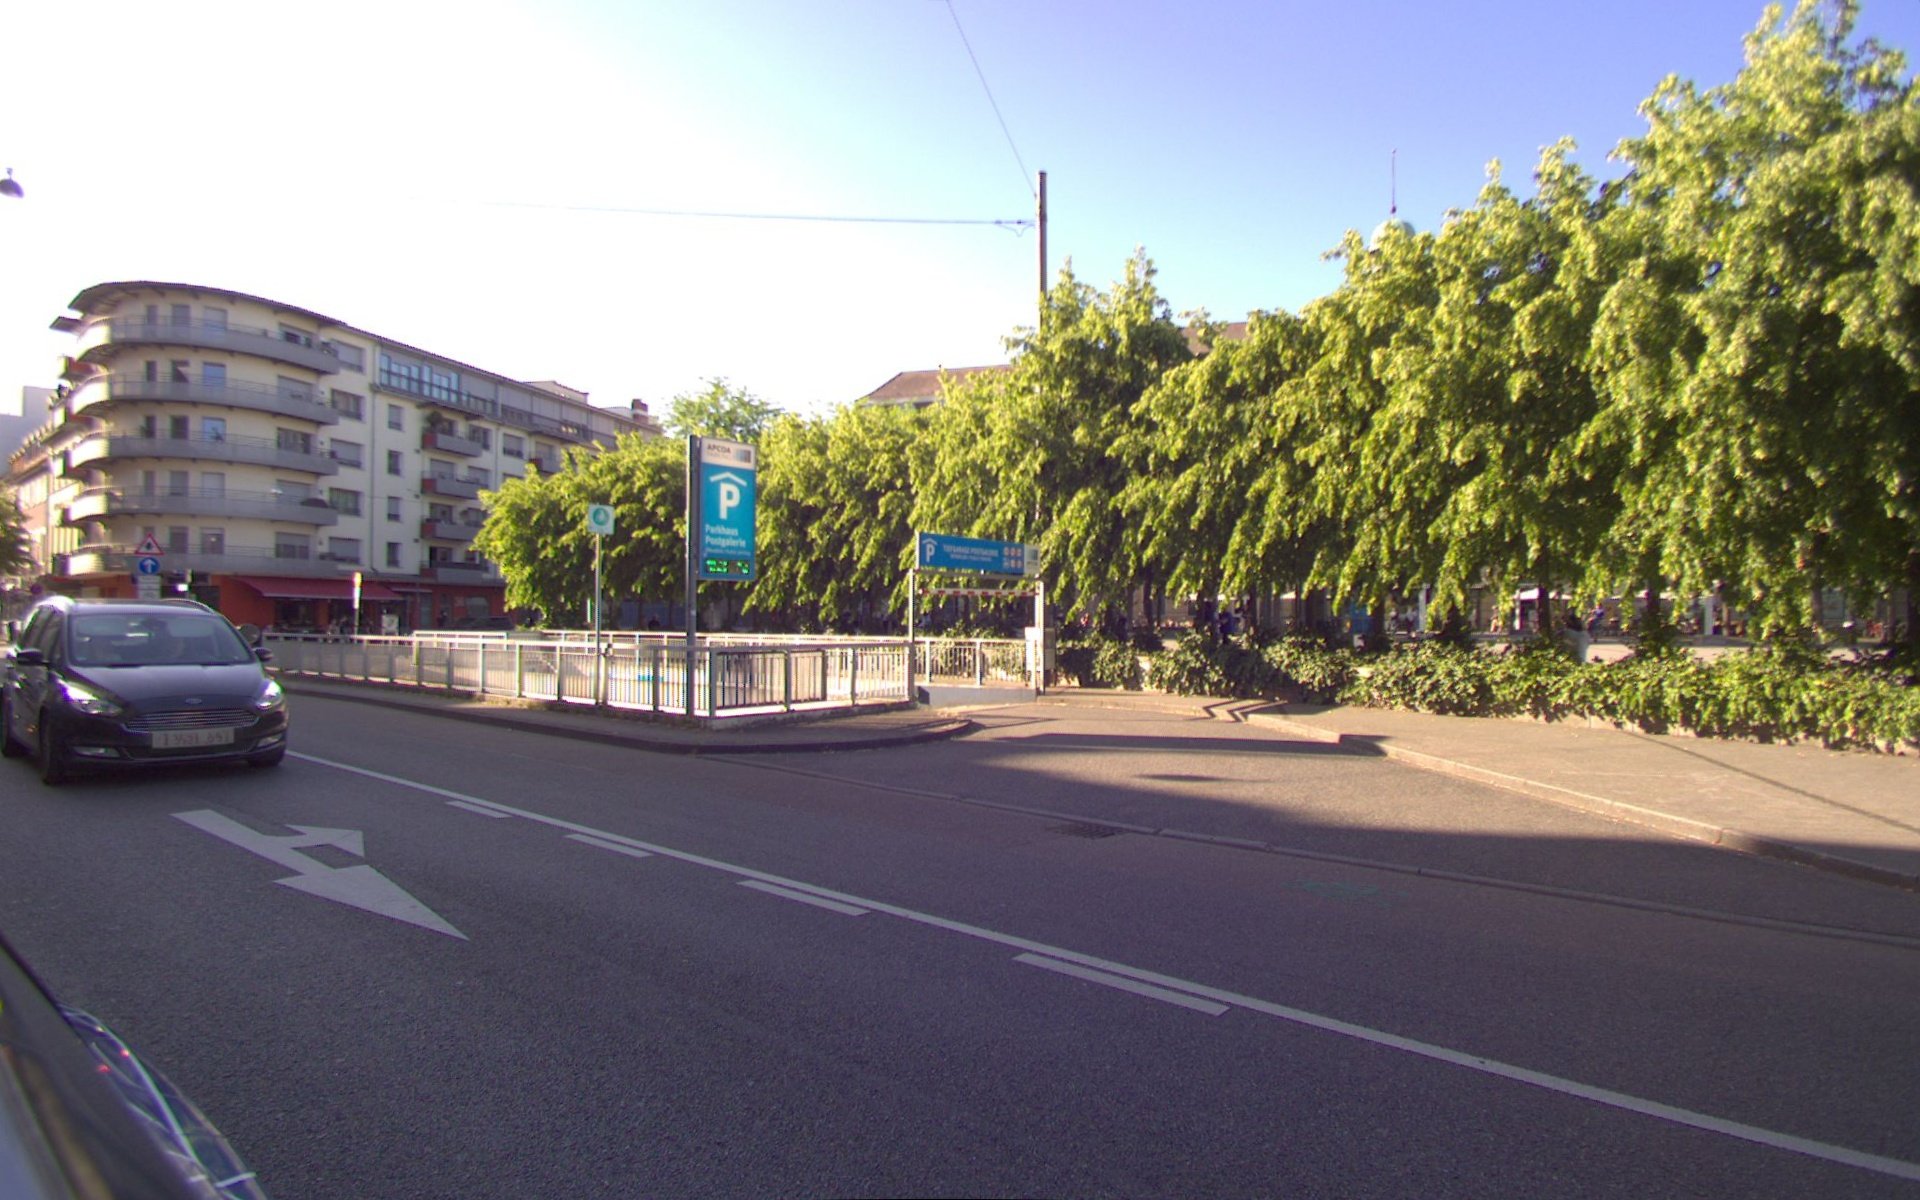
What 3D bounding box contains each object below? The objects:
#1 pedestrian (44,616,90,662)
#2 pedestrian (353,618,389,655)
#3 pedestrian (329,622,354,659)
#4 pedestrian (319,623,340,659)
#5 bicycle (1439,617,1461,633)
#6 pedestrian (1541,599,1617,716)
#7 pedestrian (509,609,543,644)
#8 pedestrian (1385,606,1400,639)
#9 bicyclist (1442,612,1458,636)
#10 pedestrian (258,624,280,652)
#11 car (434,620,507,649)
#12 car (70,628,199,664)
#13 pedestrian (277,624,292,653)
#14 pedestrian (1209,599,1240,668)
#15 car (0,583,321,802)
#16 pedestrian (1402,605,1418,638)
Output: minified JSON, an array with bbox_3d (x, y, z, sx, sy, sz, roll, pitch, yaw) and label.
[{"bbox_3d":[-40.746,1.754,46.194,1.008,2.029,1.198,-1,0,4],"label":"pedestrian"},{"bbox_3d":[-32.479,2.000,55.796,1.251,2.029,1.226,-1,-1,19],"label":"pedestrian"},{"bbox_3d":[-30.605,1.982,50.114,0.750,1.819,0.751,-1,-1,15],"label":"pedestrian"},{"bbox_3d":[-30.824,1.987,49.475,0.697,1.719,0.667,-1,-1,33],"label":"pedestrian"},{"bbox_3d":[30.253,1.513,62.482,1.878,0.961,0.589,0,-1,-45],"label":"bicycle"},{"bbox_3d":[9.777,0.880,15.976,0.885,1.771,0.738,0,-1,-39],"label":"pedestrian"},{"bbox_3d":[-25.030,1.528,58.353,1.287,2.029,1.309,-1,-1,23],"label":"pedestrian"},{"bbox_3d":[25.625,1.348,59.971,0.751,1.948,0.938,-1,-1,20],"label":"pedestrian"},{"bbox_3d":[30.228,1.491,62.448,0.688,1.439,0.674,1,-1,-44],"label":"bicyclist"},{"bbox_3d":[-36.726,2.022,53.771,0.782,1.473,0.582,0,-1,3],"label":"pedestrian"},{"bbox_3d":[-30.516,2.127,63.202,1.983,1.763,3.977,-1,-1,17],"label":"car"},{"bbox_3d":[-34.189,1.900,41.964,4.201,1.445,1.799,-1,-1,8],"label":"car"},{"bbox_3d":[-35.305,2.017,52.891,0.573,1.501,0.794,0,-1,-36],"label":"pedestrian"},{"bbox_3d":[6.562,0.824,25.129,0.672,1.683,0.843,-1,-1,13],"label":"pedestrian"},{"bbox_3d":[-8.647,0.814,10.576,4.724,1.785,1.973,-1,-2,40],"label":"car"},{"bbox_3d":[26.596,1.287,59.789,0.751,1.948,0.938,-1,-1,20],"label":"pedestrian"}]
